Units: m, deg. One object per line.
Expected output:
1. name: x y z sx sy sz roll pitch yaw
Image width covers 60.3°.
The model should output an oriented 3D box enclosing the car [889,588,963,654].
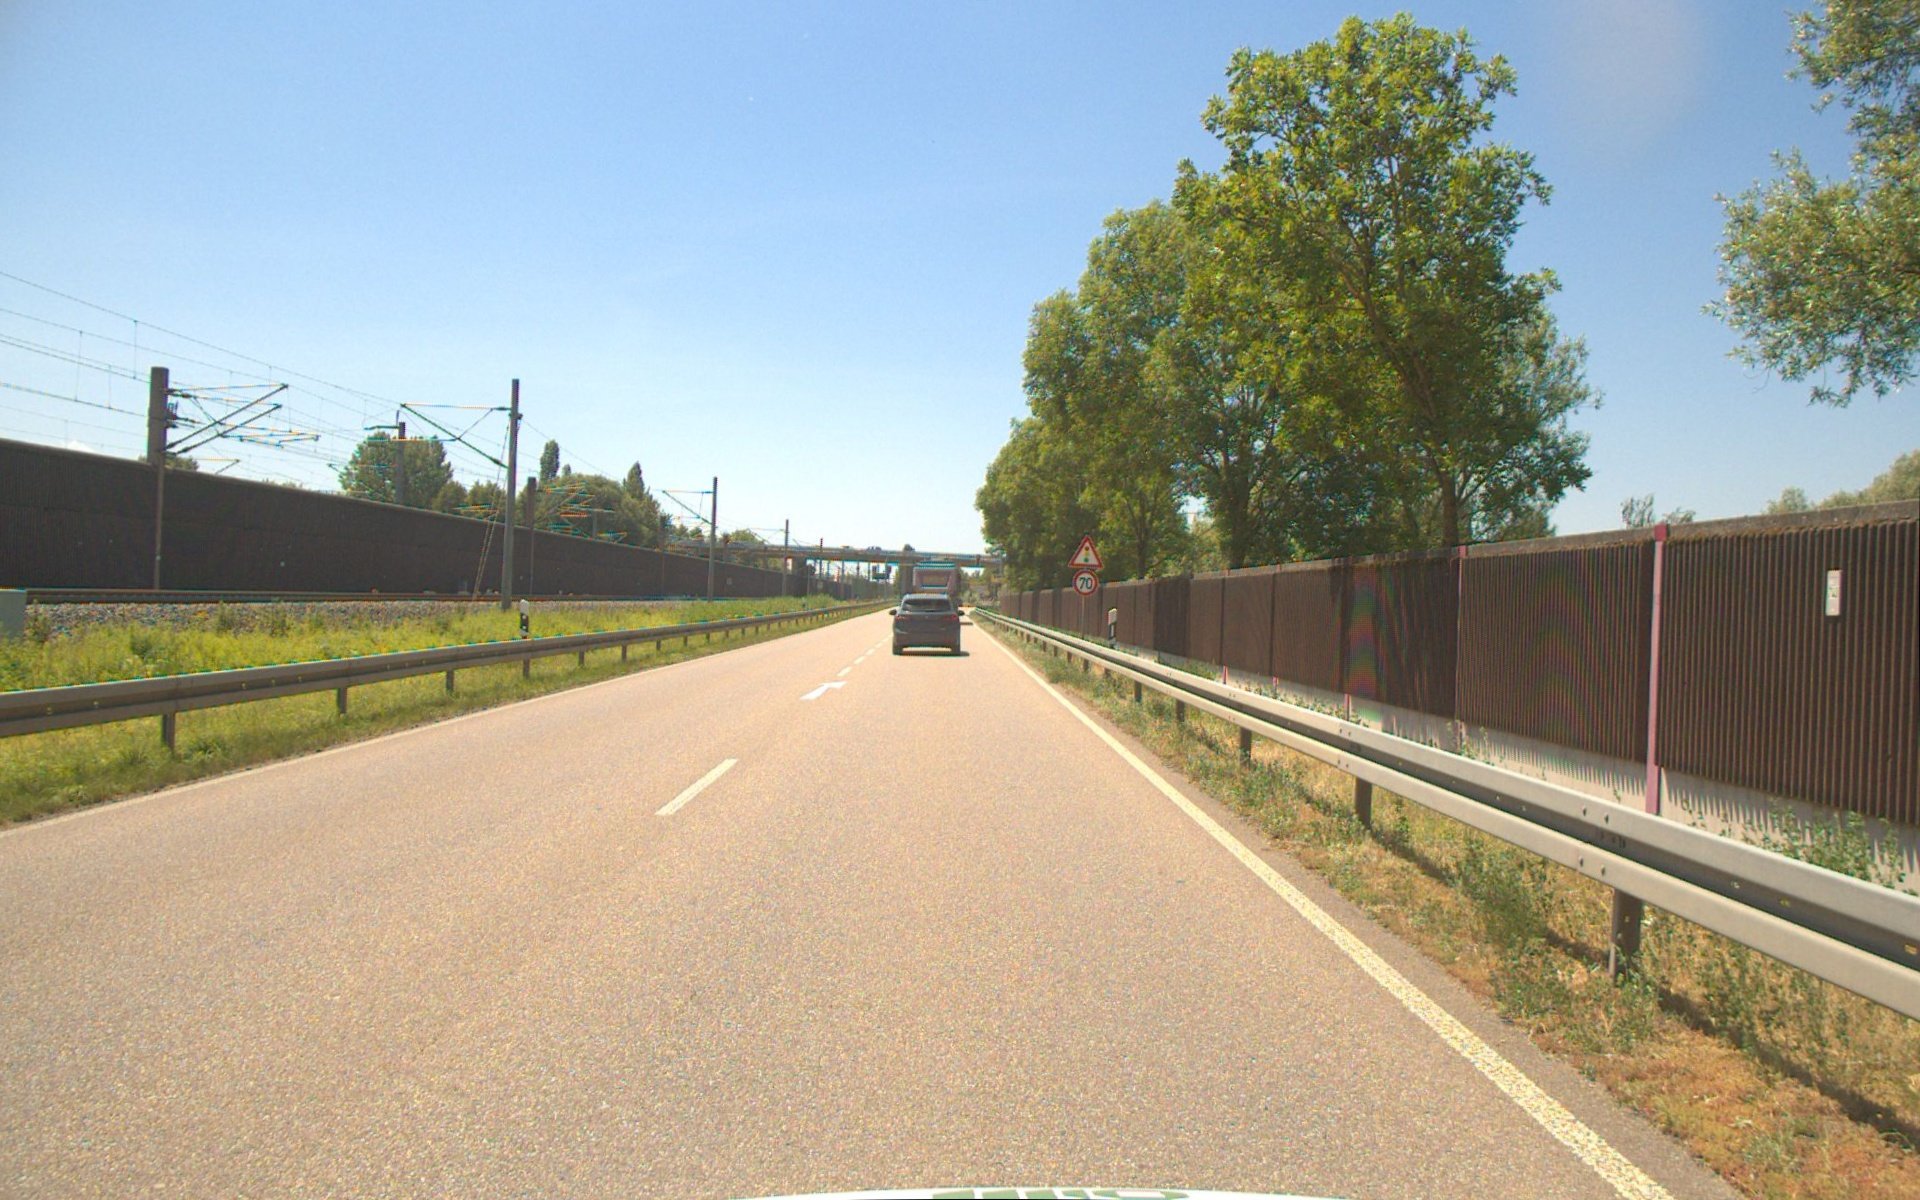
1. car: -0.865 0.539 44.283 1.806 1.651 4.226 1 0 1

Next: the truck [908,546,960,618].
1. truck: -1.447 -0.994 97.471 2.775 3.888 11.884 1 0 0
